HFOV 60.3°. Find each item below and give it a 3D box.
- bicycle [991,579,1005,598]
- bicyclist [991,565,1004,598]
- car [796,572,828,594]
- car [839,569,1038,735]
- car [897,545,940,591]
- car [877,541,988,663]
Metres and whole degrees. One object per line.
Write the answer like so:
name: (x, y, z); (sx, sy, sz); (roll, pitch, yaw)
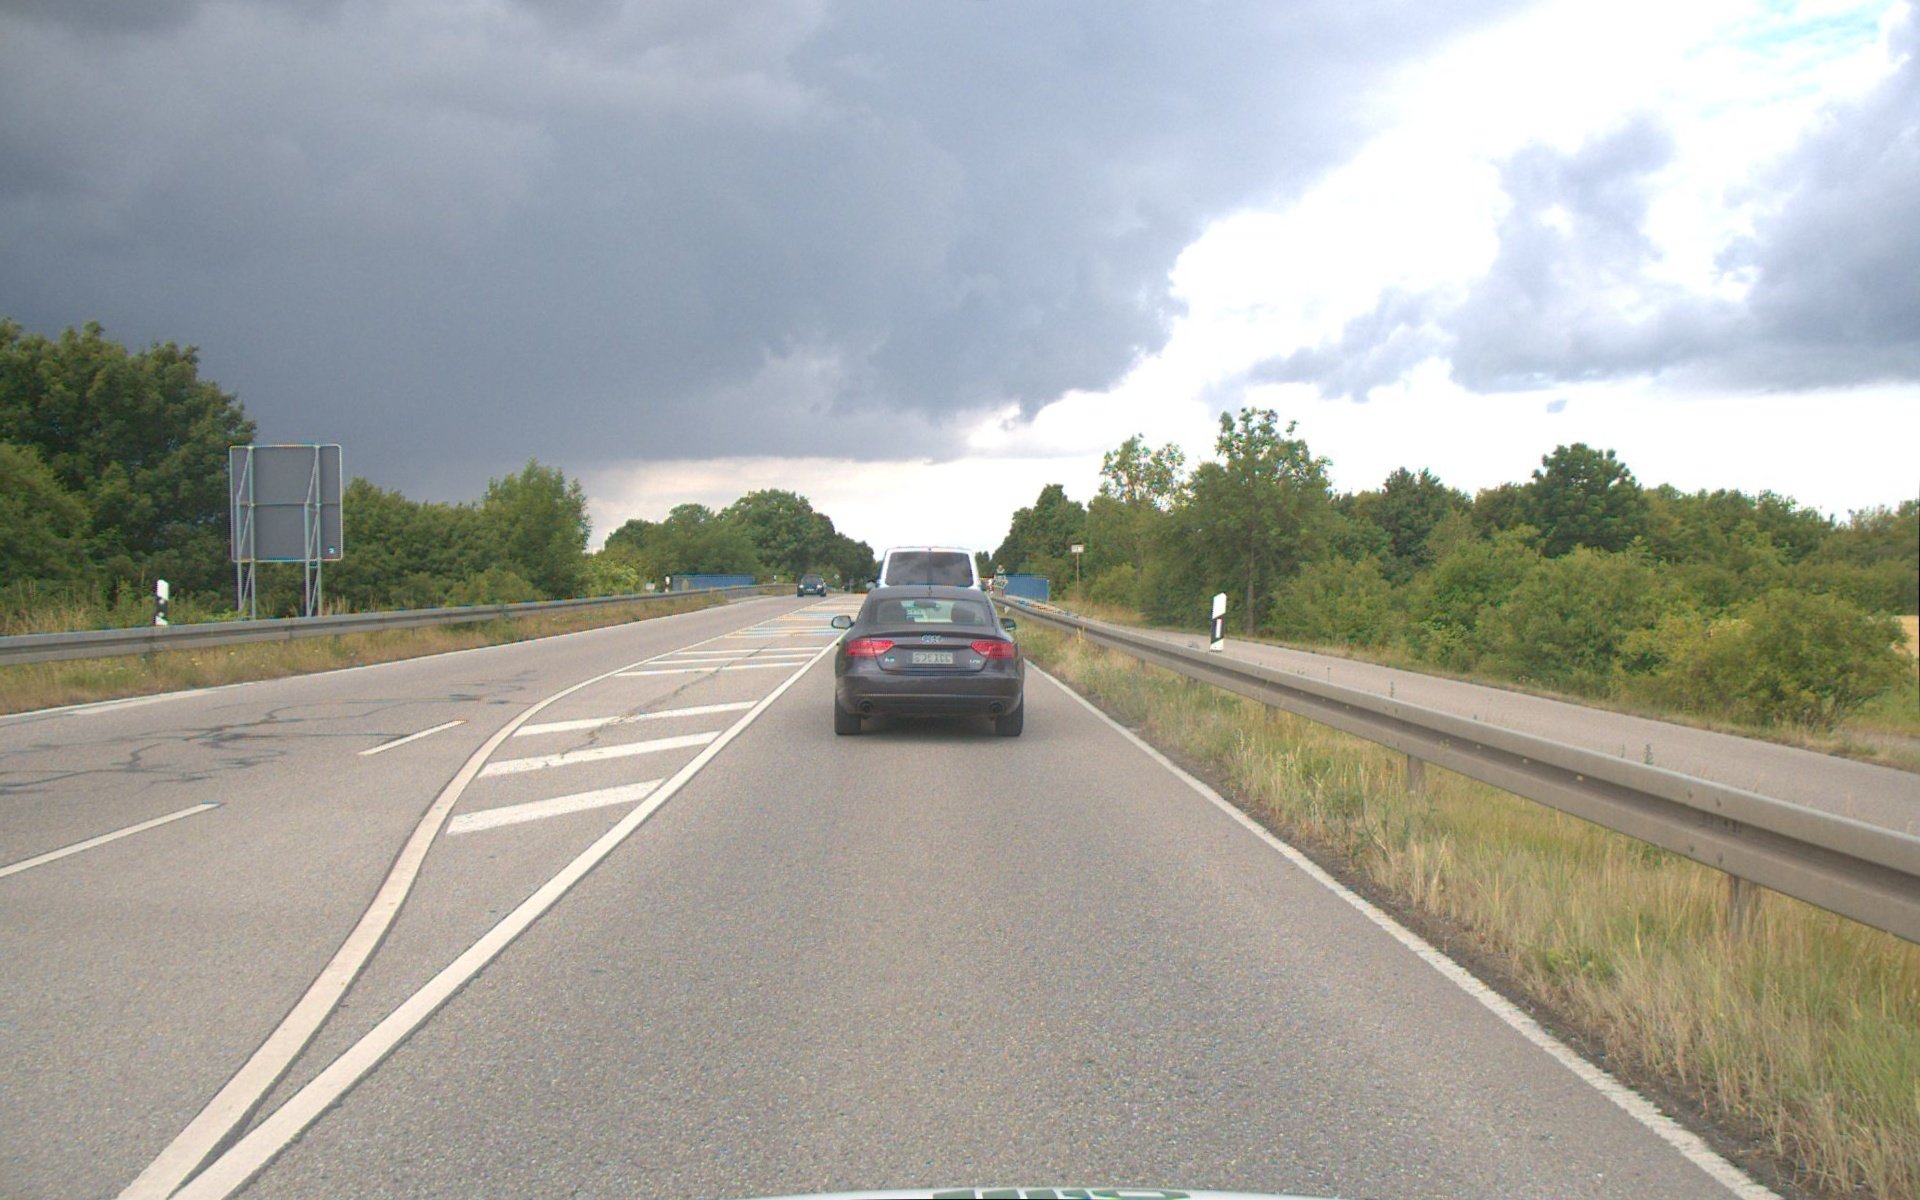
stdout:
bicycle: (1.932, -0.598, 84.432); (0.652, 0.936, 1.830); (-1, 1, -2)
bicyclist: (1.921, -0.930, 84.481); (0.634, 1.674, 0.866); (-1, 0, -2)
car: (-9.556, -1.116, 107.040); (1.825, 1.400, 3.999); (1, 1, -2)
car: (-0.246, 0.448, 16.668); (1.750, 1.448, 3.999); (1, 0, -2)
car: (-2.391, -1.843, 95.303); (2.398, 2.548, 5.040); (1, 1, -1)
car: (-0.499, 0.021, 28.535); (1.750, 1.922, 3.999); (1, 0, -2)
